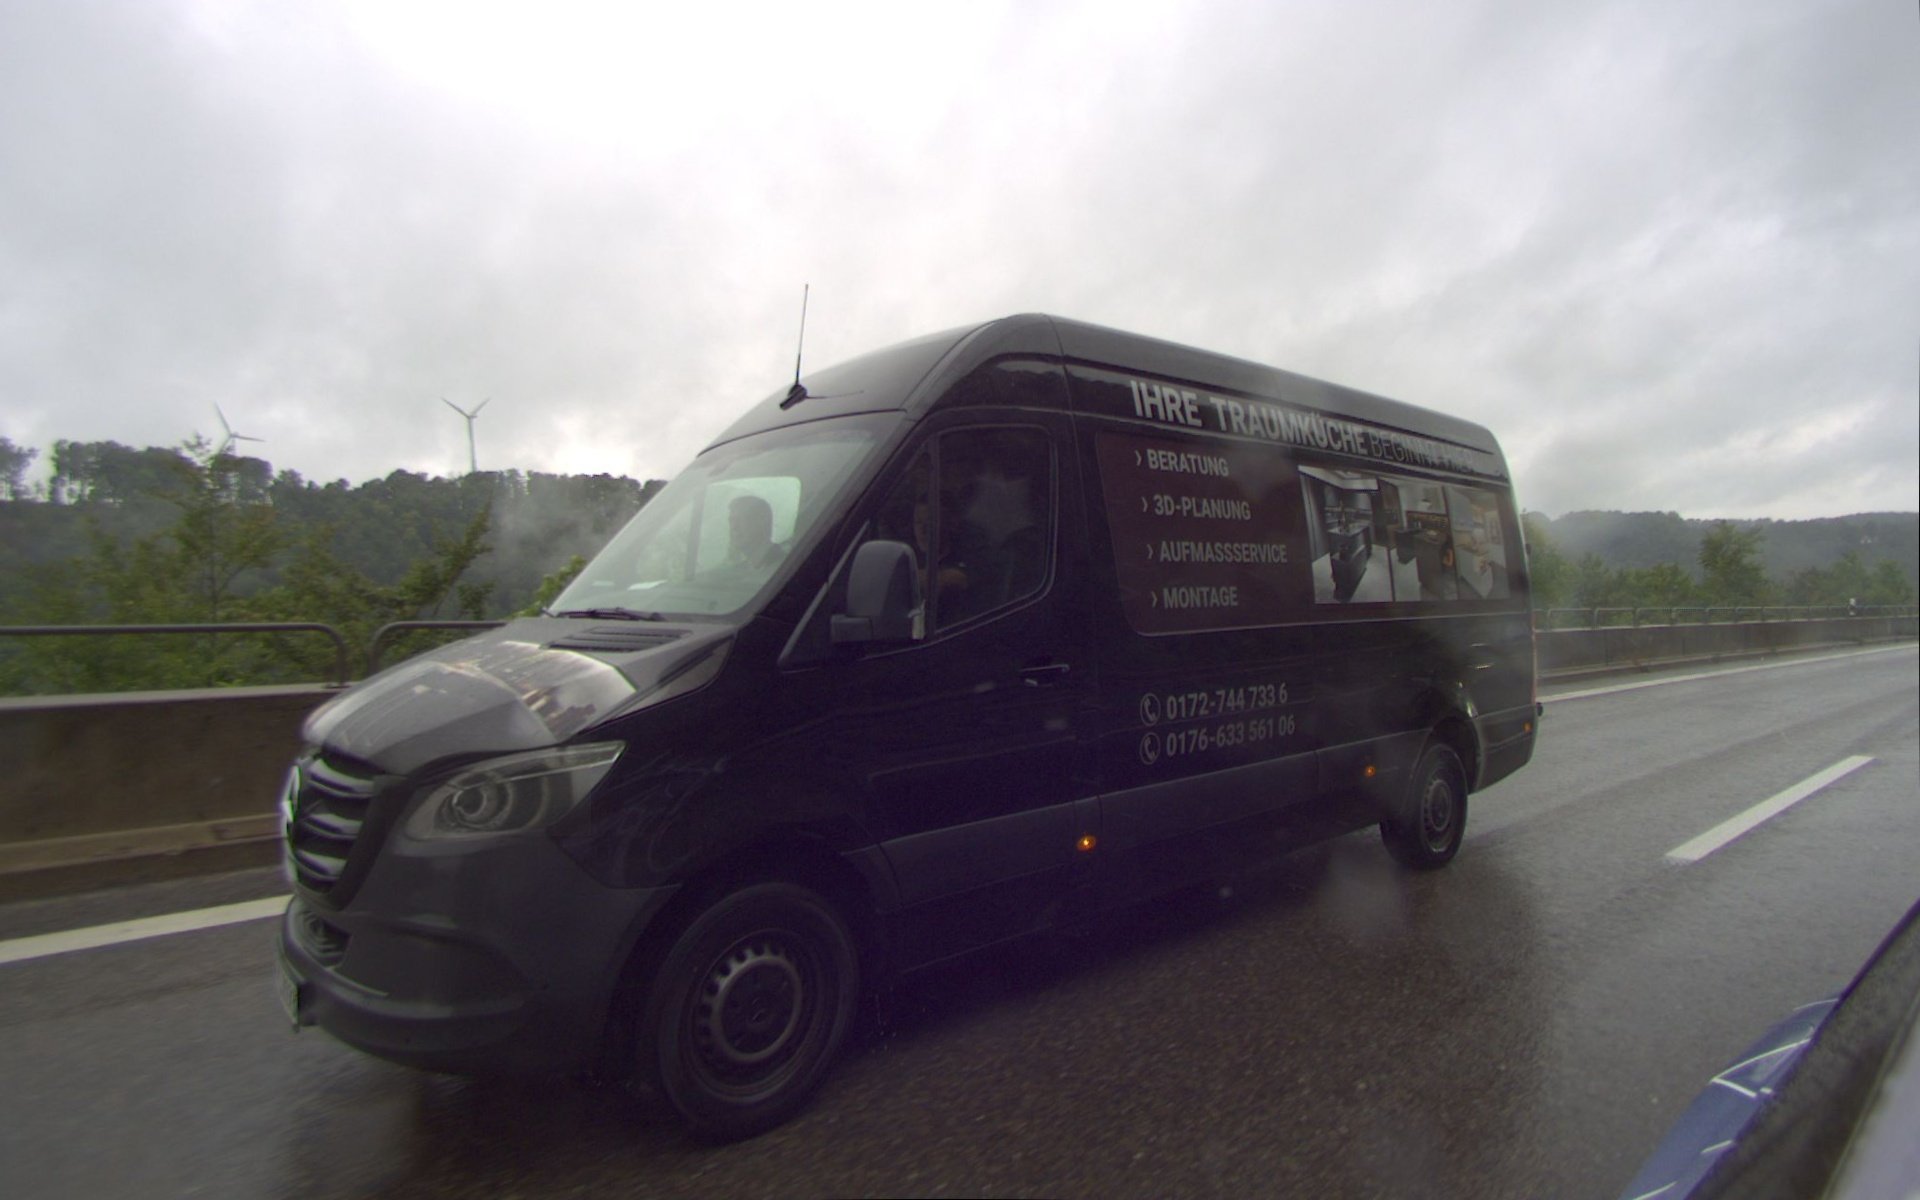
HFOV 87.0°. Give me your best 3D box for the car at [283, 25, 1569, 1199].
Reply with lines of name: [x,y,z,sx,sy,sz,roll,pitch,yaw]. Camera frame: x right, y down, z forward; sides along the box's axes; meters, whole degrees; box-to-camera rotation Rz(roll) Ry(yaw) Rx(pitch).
car: [0.746,0.102,4.994,6.588,2.526,1.997,1,0,-41]
